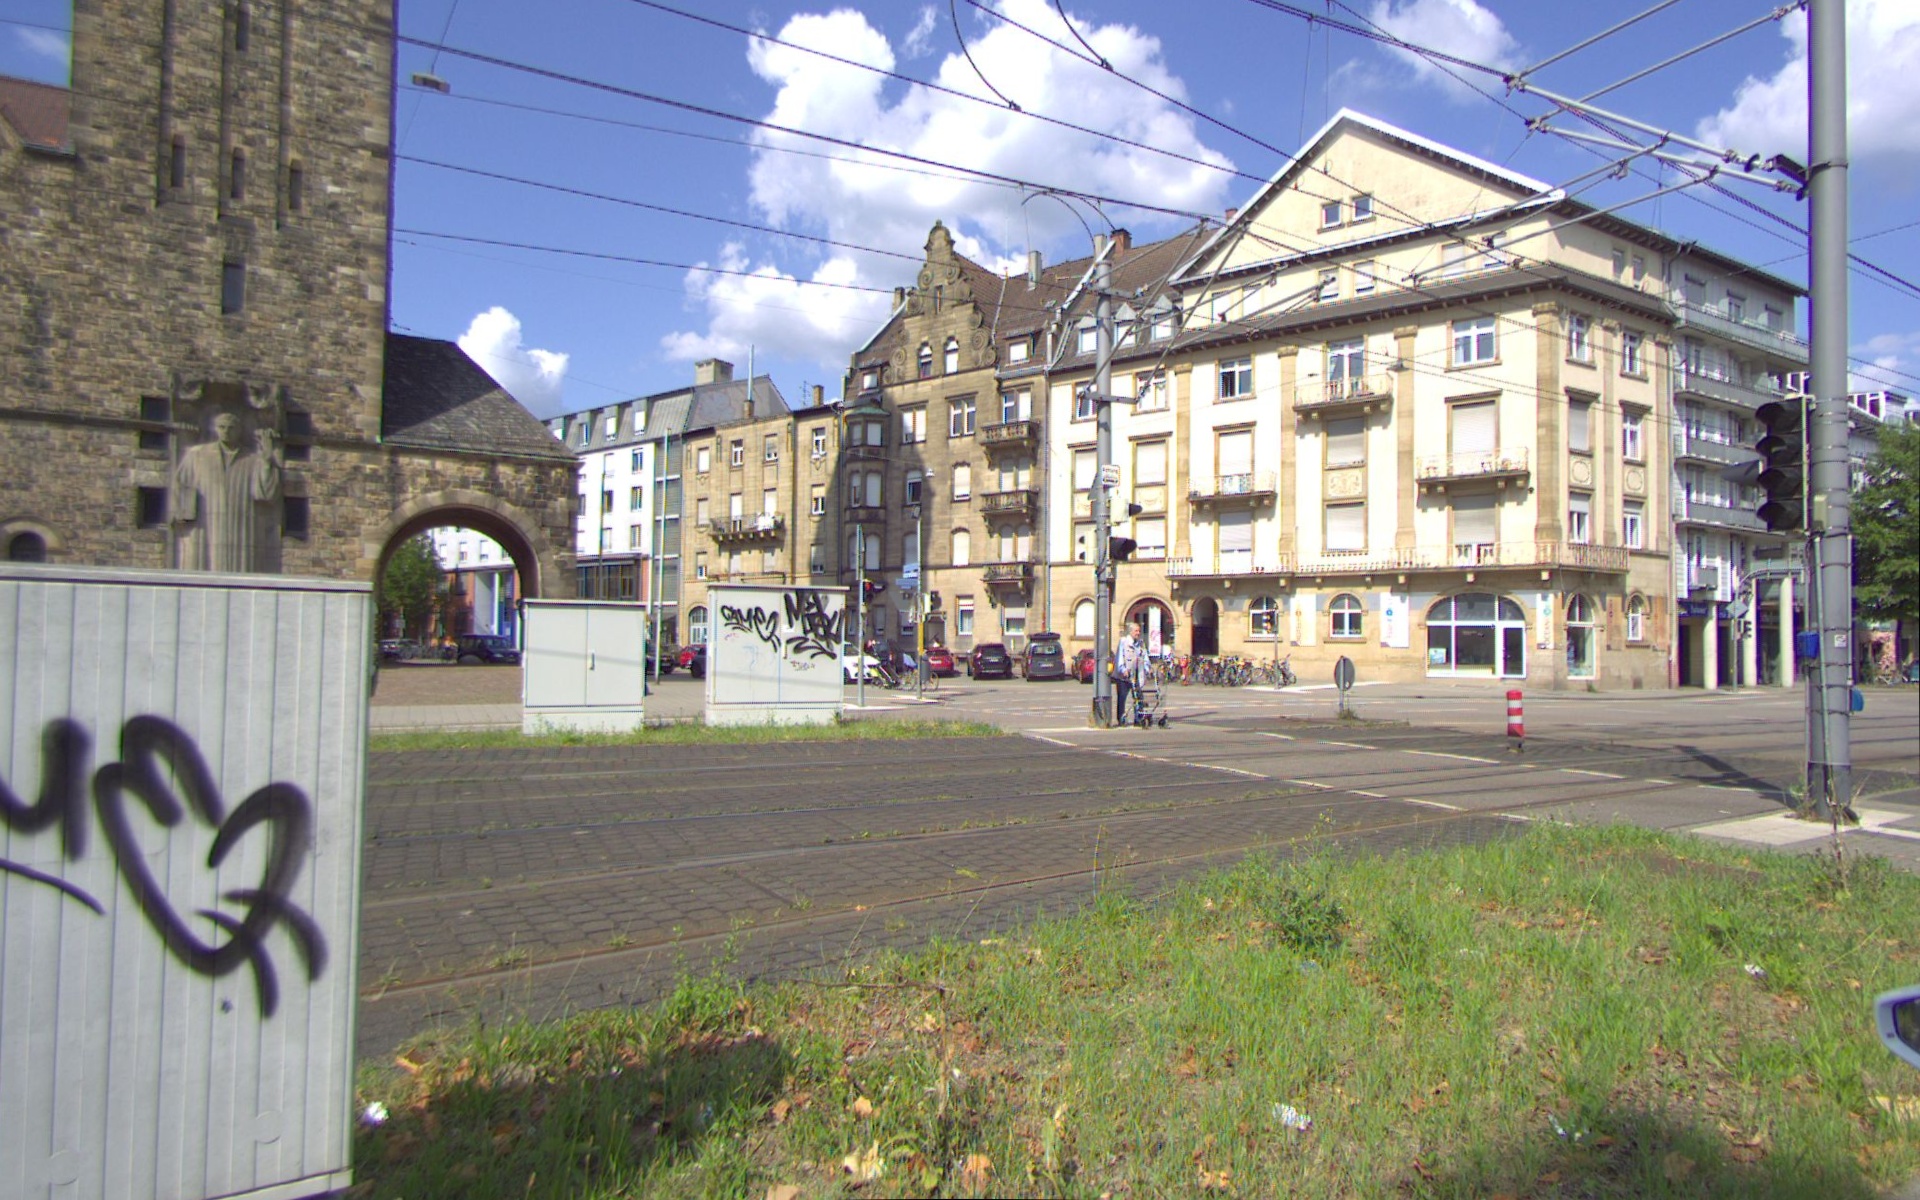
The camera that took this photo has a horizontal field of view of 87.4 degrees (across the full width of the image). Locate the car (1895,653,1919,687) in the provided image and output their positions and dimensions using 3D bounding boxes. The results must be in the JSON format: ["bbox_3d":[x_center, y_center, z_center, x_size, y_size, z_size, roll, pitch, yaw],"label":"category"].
[{"bbox_3d":[54.902,3.972,56.865,3.953,1.813,1.838,2,0,-30],"label":"car"}]

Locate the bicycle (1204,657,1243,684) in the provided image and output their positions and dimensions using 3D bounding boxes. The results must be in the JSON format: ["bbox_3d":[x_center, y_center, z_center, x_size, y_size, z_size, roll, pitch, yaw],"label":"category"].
[{"bbox_3d":[10.873,2.900,41.435,1.913,1.032,0.534,0,-1,-41],"label":"bicycle"}]

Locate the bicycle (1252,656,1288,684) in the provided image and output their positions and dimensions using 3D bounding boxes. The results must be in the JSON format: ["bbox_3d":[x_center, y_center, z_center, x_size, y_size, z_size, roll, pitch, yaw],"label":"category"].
[{"bbox_3d":[12.759,2.876,41.339,0.602,1.032,1.865,-1,-1,44],"label":"bicycle"}]

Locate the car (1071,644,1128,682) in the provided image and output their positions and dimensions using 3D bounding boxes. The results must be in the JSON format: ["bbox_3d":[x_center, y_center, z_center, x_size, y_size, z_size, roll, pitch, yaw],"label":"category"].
[{"bbox_3d":[6.152,2.753,44.636,1.929,1.460,4.000,0,-1,0],"label":"car"}]

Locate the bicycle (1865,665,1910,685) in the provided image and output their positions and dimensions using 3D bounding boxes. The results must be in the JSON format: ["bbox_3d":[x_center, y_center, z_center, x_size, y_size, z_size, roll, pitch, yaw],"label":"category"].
[{"bbox_3d":[48.707,3.934,52.774,0.492,0.999,1.680,2,-3,-31],"label":"bicycle"}]

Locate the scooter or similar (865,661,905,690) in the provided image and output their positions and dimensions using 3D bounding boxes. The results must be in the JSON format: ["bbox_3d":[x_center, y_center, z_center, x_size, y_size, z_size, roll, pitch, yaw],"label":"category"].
[{"bbox_3d":[-2.713,2.732,36.461,1.111,0.989,0.889,-1,-3,32],"label":"scooter or similar"}]

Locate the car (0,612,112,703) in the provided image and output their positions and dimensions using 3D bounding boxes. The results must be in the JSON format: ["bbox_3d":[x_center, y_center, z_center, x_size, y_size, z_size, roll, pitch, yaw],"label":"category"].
[{"bbox_3d":[-20.452,1.244,22.268,1.843,1.847,3.982,2,-3,-31],"label":"car"}]

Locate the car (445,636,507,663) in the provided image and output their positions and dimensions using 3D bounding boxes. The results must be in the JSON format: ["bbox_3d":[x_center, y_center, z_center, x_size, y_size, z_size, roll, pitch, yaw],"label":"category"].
[{"bbox_3d":[-30.280,3.065,62.828,4.005,1.617,1.790,-1,-3,35],"label":"car"}]

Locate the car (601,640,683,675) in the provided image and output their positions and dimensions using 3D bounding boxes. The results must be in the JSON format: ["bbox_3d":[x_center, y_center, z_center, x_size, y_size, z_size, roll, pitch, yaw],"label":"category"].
[{"bbox_3d":[-15.518,2.784,48.968,4.005,1.617,1.698,-1,-3,35],"label":"car"}]

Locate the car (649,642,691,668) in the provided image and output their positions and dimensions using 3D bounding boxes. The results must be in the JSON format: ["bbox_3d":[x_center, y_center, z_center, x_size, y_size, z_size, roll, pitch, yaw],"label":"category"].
[{"bbox_3d":[-17.919,3.404,62.158,1.574,1.415,3.573,-1,0,0],"label":"car"}]

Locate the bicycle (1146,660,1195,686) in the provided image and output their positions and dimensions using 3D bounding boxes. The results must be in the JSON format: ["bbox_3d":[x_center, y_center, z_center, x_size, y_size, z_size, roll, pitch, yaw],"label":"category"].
[{"bbox_3d":[8.616,2.974,41.155,1.891,1.032,0.540,-1,0,20],"label":"bicycle"}]

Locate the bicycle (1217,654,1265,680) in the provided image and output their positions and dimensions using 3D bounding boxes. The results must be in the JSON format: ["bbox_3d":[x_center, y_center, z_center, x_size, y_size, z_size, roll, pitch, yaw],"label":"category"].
[{"bbox_3d":[11.942,2.843,42.719,1.899,1.032,0.538,-1,0,40],"label":"bicycle"}]

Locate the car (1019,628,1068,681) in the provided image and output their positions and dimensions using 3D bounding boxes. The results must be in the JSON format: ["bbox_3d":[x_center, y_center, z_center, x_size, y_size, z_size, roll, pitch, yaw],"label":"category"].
[{"bbox_3d":[3.849,2.489,46.708,1.929,2.111,3.999,-1,2,0],"label":"car"}]

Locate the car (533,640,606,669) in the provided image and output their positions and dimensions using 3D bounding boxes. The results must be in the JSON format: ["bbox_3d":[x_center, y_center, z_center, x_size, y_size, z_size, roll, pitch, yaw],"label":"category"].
[{"bbox_3d":[-20.334,2.816,52.274,3.798,1.409,1.698,-1,-3,35],"label":"car"}]

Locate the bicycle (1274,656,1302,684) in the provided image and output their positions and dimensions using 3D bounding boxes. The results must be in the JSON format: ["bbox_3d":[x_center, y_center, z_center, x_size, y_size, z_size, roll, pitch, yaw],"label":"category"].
[{"bbox_3d":[13.340,2.846,40.820,0.599,1.032,1.872,-1,-1,32],"label":"bicycle"}]

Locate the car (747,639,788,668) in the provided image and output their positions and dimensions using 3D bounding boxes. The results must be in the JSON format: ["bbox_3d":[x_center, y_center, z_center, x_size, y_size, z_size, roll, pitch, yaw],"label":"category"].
[{"bbox_3d":[-10.965,3.002,57.385,1.574,1.475,3.776,-1,0,0],"label":"car"}]

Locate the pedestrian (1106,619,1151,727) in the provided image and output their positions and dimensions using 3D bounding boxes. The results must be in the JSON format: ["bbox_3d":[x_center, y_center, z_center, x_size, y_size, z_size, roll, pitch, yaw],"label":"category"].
[{"bbox_3d":[2.812,1.207,16.787,0.551,1.755,0.523,2,-3,-34],"label":"pedestrian"}]

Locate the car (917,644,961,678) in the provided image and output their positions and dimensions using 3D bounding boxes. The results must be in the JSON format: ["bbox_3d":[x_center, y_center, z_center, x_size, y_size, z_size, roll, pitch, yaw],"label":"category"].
[{"bbox_3d":[-1.098,3.020,50.313,1.880,1.463,3.997,-1,0,-5],"label":"car"}]

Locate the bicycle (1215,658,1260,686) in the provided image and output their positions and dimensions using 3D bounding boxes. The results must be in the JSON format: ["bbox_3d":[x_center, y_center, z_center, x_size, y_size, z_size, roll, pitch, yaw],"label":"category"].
[{"bbox_3d":[11.253,2.911,40.754,1.853,1.032,0.598,0,-1,-28],"label":"bicycle"}]

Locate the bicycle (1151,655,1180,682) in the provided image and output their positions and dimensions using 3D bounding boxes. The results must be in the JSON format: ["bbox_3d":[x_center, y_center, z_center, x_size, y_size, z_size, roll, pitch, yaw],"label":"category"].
[{"bbox_3d":[8.980,2.987,43.839,0.531,1.032,1.922,-1,0,35],"label":"bicycle"}]

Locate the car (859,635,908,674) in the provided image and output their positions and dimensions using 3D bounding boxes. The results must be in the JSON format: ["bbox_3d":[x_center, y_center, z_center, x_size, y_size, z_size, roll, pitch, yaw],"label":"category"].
[{"bbox_3d":[-3.929,2.804,52.324,1.878,1.849,4.002,-1,0,5],"label":"car"}]

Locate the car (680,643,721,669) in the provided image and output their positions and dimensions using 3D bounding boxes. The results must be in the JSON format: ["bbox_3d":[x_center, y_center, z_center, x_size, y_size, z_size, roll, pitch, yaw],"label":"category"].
[{"bbox_3d":[-15.671,3.379,60.851,1.574,1.415,3.573,-1,0,0],"label":"car"}]

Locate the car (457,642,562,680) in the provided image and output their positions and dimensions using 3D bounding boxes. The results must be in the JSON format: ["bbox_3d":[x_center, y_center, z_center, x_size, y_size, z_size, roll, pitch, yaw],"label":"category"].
[{"bbox_3d":[-20.890,2.816,46.653,3.892,1.674,2.034,0,-2,3],"label":"car"}]

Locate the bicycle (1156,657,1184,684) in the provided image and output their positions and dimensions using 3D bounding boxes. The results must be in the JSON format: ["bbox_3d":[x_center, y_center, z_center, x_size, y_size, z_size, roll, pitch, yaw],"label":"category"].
[{"bbox_3d":[8.962,2.978,42.753,0.531,1.032,1.924,-1,0,31],"label":"bicycle"}]

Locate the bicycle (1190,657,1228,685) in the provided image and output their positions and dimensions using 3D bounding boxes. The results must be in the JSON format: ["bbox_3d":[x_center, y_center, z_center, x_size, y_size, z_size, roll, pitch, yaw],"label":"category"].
[{"bbox_3d":[10.346,2.946,41.708,1.913,1.032,0.534,-1,0,-41],"label":"bicycle"}]

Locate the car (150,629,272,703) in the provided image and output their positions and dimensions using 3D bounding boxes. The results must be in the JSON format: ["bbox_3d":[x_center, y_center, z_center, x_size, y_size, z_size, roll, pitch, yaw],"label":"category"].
[{"bbox_3d":[-17.324,1.490,23.391,1.777,1.567,3.749,2,-3,-30],"label":"car"}]

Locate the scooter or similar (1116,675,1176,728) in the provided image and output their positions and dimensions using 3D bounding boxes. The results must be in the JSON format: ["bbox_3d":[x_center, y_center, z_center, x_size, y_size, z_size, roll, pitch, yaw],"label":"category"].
[{"bbox_3d":[3.037,1.647,16.413,0.548,0.814,0.833,2,-3,-33],"label":"scooter or similar"}]

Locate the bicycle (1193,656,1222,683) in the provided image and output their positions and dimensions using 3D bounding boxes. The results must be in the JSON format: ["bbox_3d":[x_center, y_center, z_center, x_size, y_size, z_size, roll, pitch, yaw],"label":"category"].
[{"bbox_3d":[10.629,2.948,43.040,0.531,1.032,1.922,-1,0,35],"label":"bicycle"}]

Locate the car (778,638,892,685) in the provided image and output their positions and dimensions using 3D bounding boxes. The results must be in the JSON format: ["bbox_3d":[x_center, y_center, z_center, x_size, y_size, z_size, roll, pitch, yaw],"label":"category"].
[{"bbox_3d":[-5.123,2.468,40.970,4.587,1.762,1.809,-1,-3,35],"label":"car"}]

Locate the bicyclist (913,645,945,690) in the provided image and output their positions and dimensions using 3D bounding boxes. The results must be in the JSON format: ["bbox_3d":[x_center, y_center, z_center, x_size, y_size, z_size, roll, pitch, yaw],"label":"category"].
[{"bbox_3d":[-1.104,2.386,35.639,0.906,1.524,0.650,-1,0,32],"label":"bicyclist"}]

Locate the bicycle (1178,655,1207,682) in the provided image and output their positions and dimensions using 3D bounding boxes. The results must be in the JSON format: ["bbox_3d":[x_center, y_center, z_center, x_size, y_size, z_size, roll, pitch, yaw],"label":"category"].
[{"bbox_3d":[10.064,2.938,43.420,0.531,1.032,1.922,-1,0,35],"label":"bicycle"}]

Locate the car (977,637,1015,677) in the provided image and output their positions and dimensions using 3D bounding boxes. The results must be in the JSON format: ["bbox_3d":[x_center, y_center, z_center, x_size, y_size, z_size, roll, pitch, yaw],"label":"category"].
[{"bbox_3d":[1.681,2.705,48.191,1.677,1.690,4.000,-1,0,0],"label":"car"}]
